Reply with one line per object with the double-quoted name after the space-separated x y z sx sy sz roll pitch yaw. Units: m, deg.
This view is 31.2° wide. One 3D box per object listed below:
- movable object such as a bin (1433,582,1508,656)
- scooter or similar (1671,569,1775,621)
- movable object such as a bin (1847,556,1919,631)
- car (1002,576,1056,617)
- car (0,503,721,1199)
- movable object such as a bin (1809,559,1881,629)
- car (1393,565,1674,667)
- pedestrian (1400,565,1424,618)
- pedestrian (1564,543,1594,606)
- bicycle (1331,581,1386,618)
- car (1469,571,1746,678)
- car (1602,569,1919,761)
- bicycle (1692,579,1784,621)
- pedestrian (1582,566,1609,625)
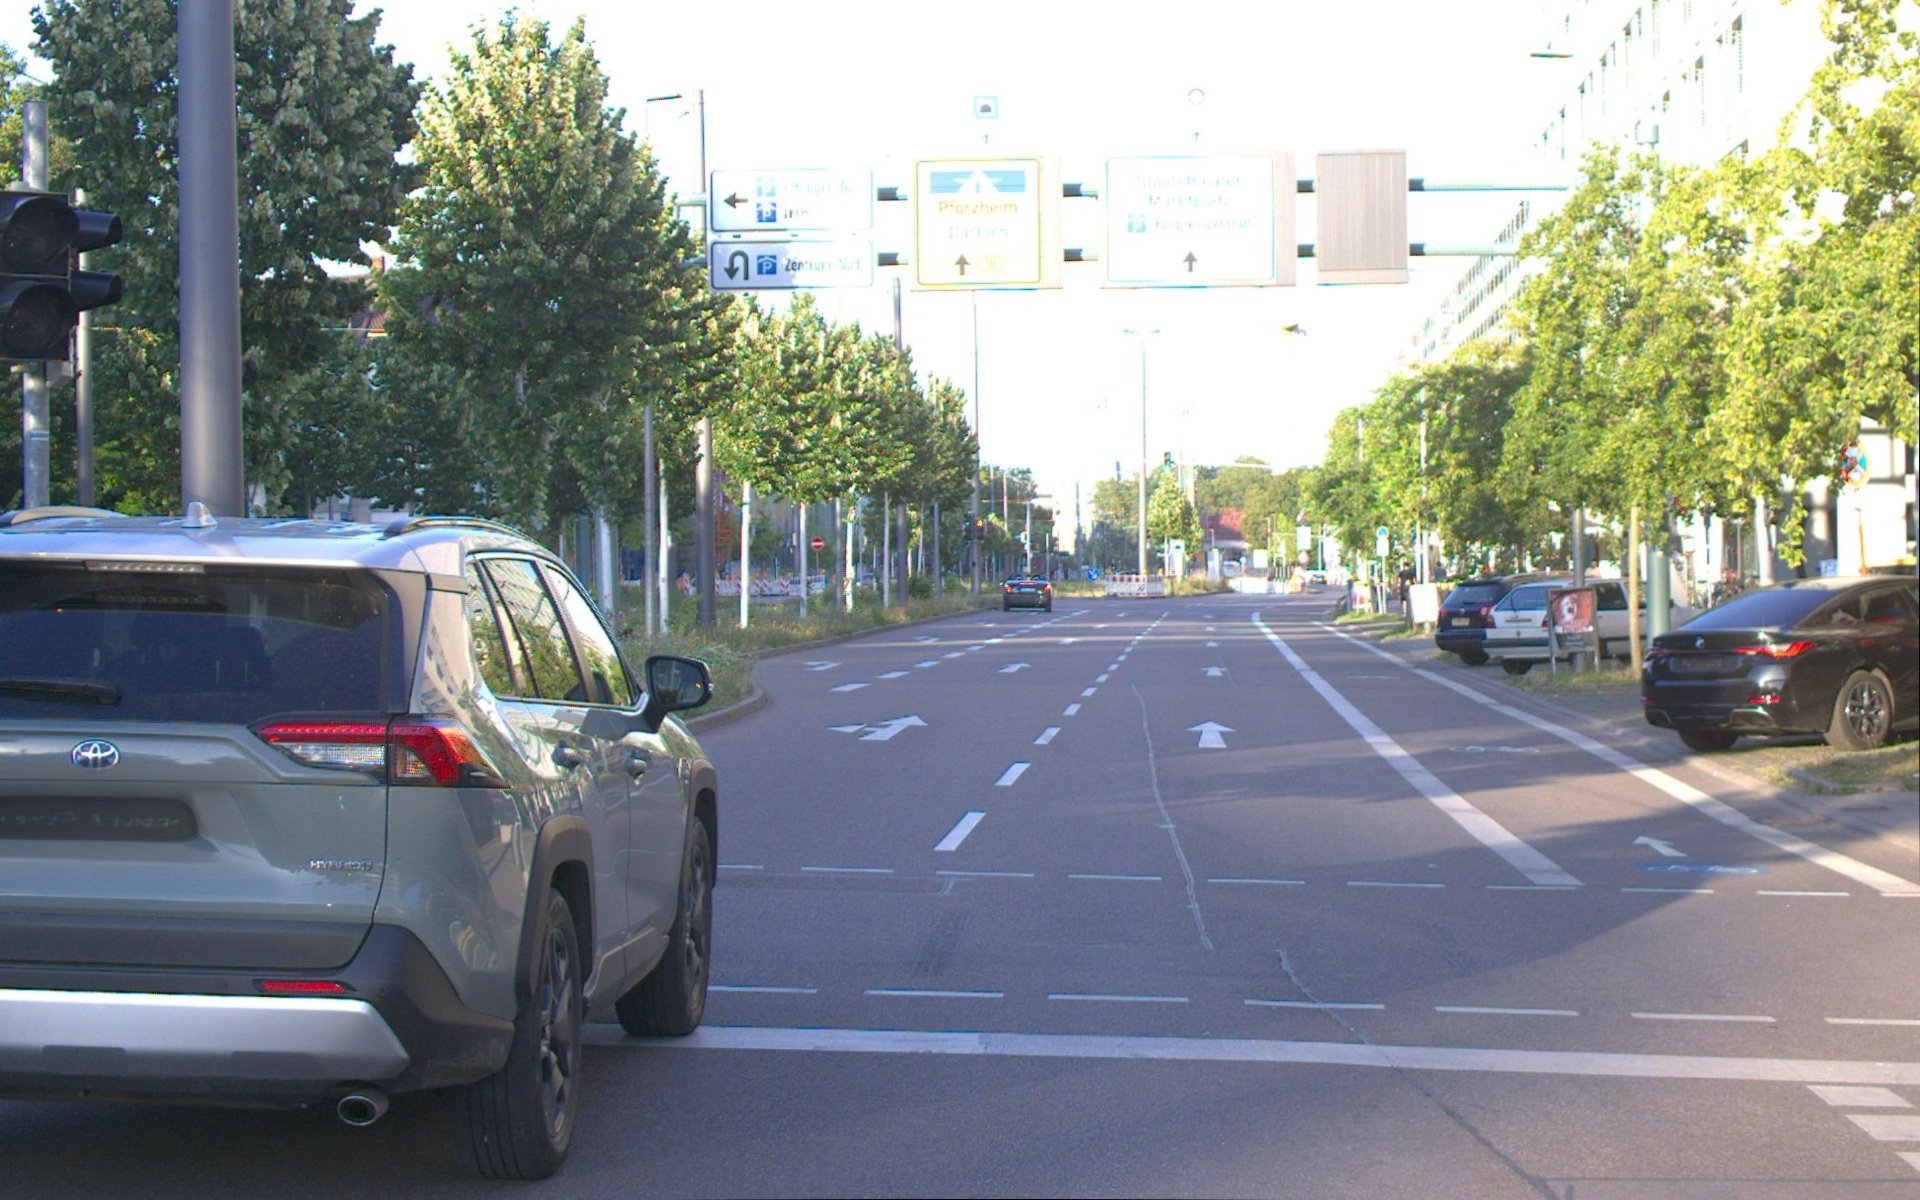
9.415 0.338 63.432 1.084 1.297 1.361 -3 1 -2 "movable object such as a bin"
18.649 -0.121 84.055 2.372 1.179 0.620 -2 0 4 "scooter or similar"
17.204 -0.130 63.687 1.181 1.318 1.266 -3 1 3 "movable object such as a bin"
2.422 -0.147 120.010 1.674 1.347 4.000 1 1 4 "car"
-1.845 0.592 9.723 1.834 1.667 4.282 1 1 3 "car"
17.526 -0.121 68.107 1.105 1.325 1.283 -2 1 3 "movable object such as a bin"
9.799 0.269 58.577 4.655 1.503 1.939 -3 0 -35 "car"
14.719 -0.278 112.028 0.653 1.696 0.689 -2 0 4 "pedestrian"
18.379 -0.756 102.089 0.756 1.818 0.940 -2 0 13 "pedestrian"
13.857 -0.015 119.500 1.793 1.189 0.568 -3 0 0 "bicycle"
9.810 0.360 52.018 3.978 1.412 1.751 -3 0 -34 "car"
7.888 0.502 30.015 4.593 1.448 1.813 -3 1 -37 "car"
18.652 -0.005 82.432 2.015 0.954 0.621 -2 1 -2 "bicycle"
17.611 -0.123 95.309 0.576 1.613 0.643 -2 1 1 "pedestrian"
